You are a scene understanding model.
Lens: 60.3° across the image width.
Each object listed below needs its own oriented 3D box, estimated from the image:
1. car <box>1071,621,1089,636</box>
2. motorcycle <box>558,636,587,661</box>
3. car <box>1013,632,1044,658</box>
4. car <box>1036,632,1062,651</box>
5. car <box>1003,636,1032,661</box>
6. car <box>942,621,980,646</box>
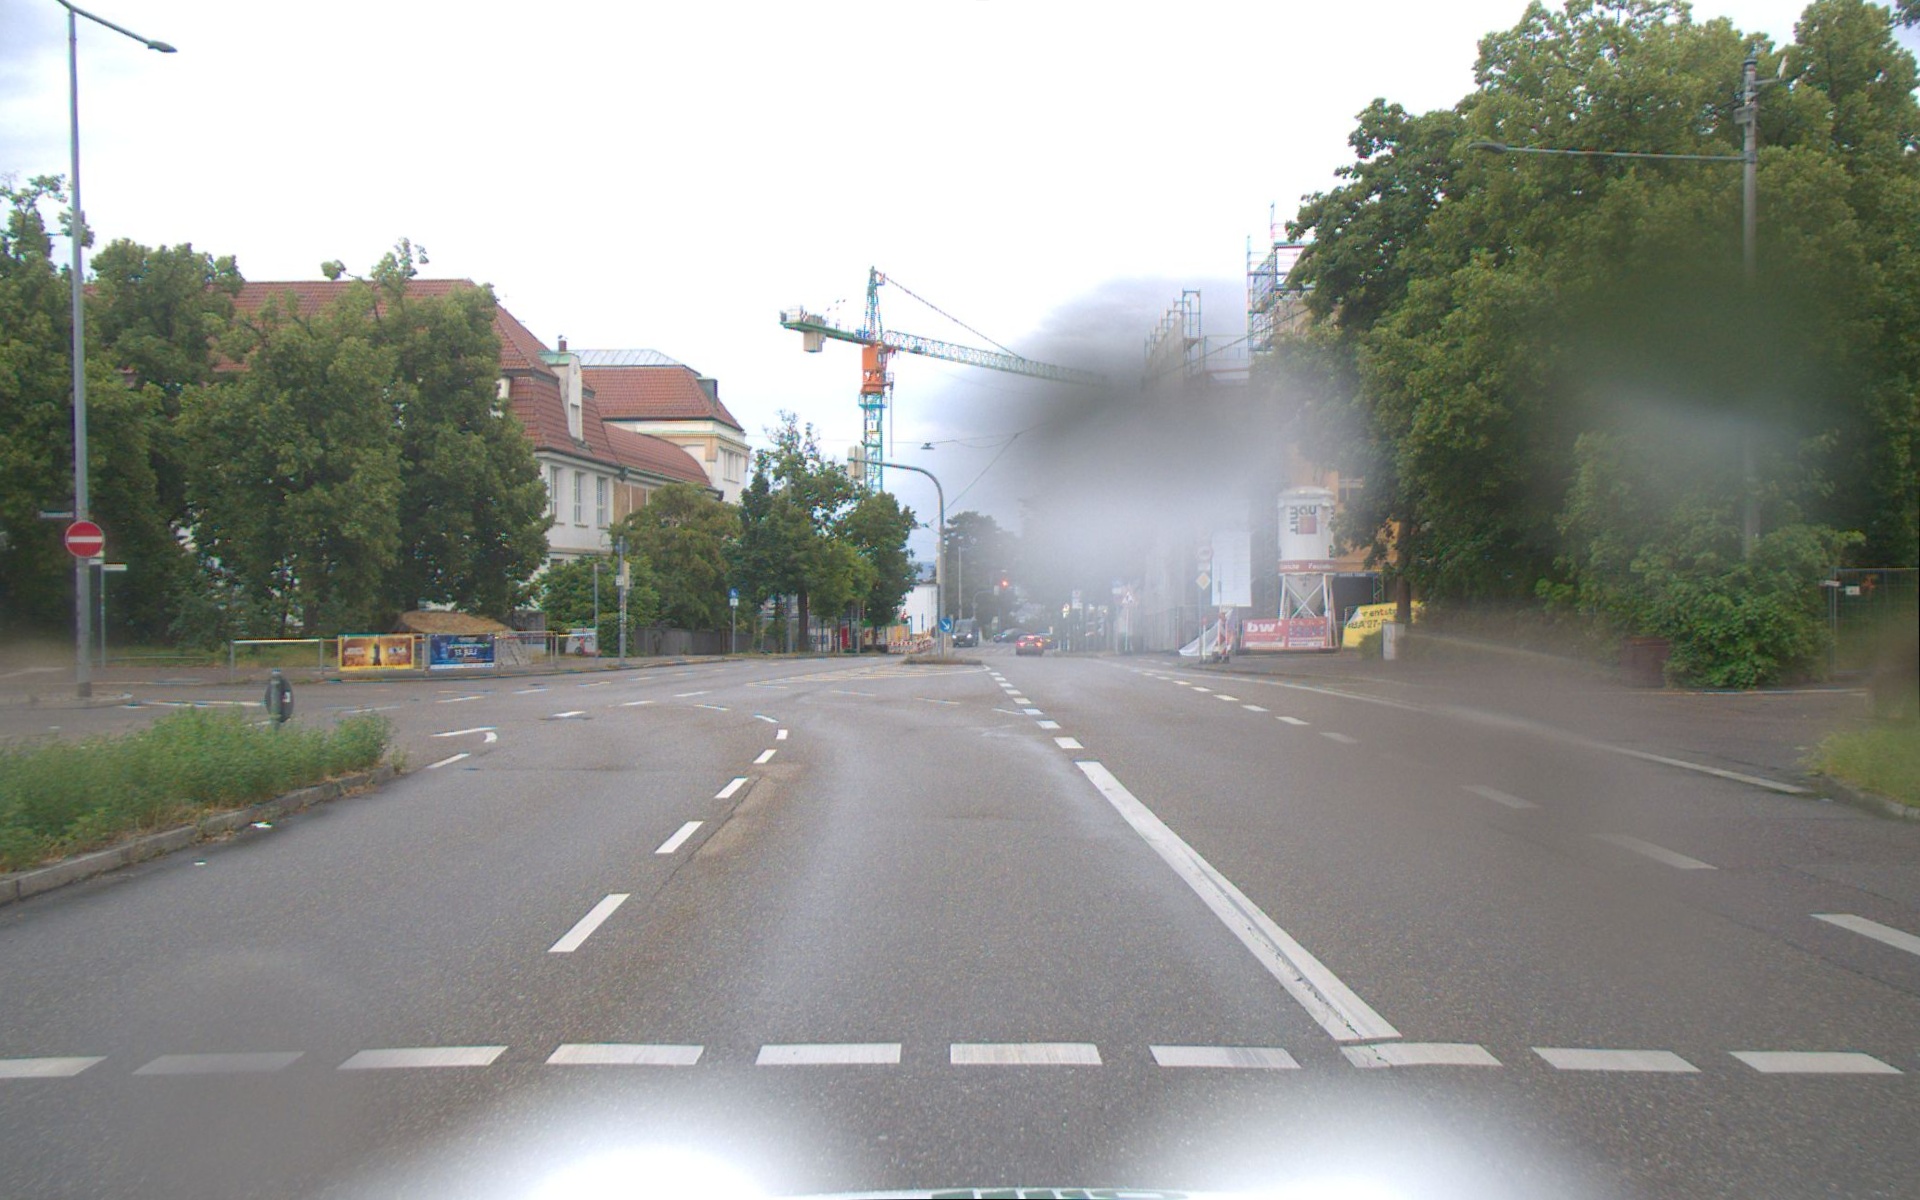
[{"bbox_3d":[15.644,3.726,215.279,1.951,1.780,4.003,-1,0,10],"label":"car"},{"bbox_3d":[-14.186,1.770,60.566,0.832,0.893,0.877,1,-1,-1],"label":"motorcycle"},{"bbox_3d":[4.994,3.271,121.077,1.953,1.780,3.999,-1,0,-1],"label":"car"},{"bbox_3d":[8.748,4.066,162.499,1.951,1.780,4.003,-1,0,12],"label":"car"},{"bbox_3d":[4.424,3.714,127.980,1.953,1.780,3.999,-1,0,-1],"label":"car"},{"bbox_3d":[0.130,3.279,163.604,2.787,2.445,6.192,0,0,10],"label":"car"}]
